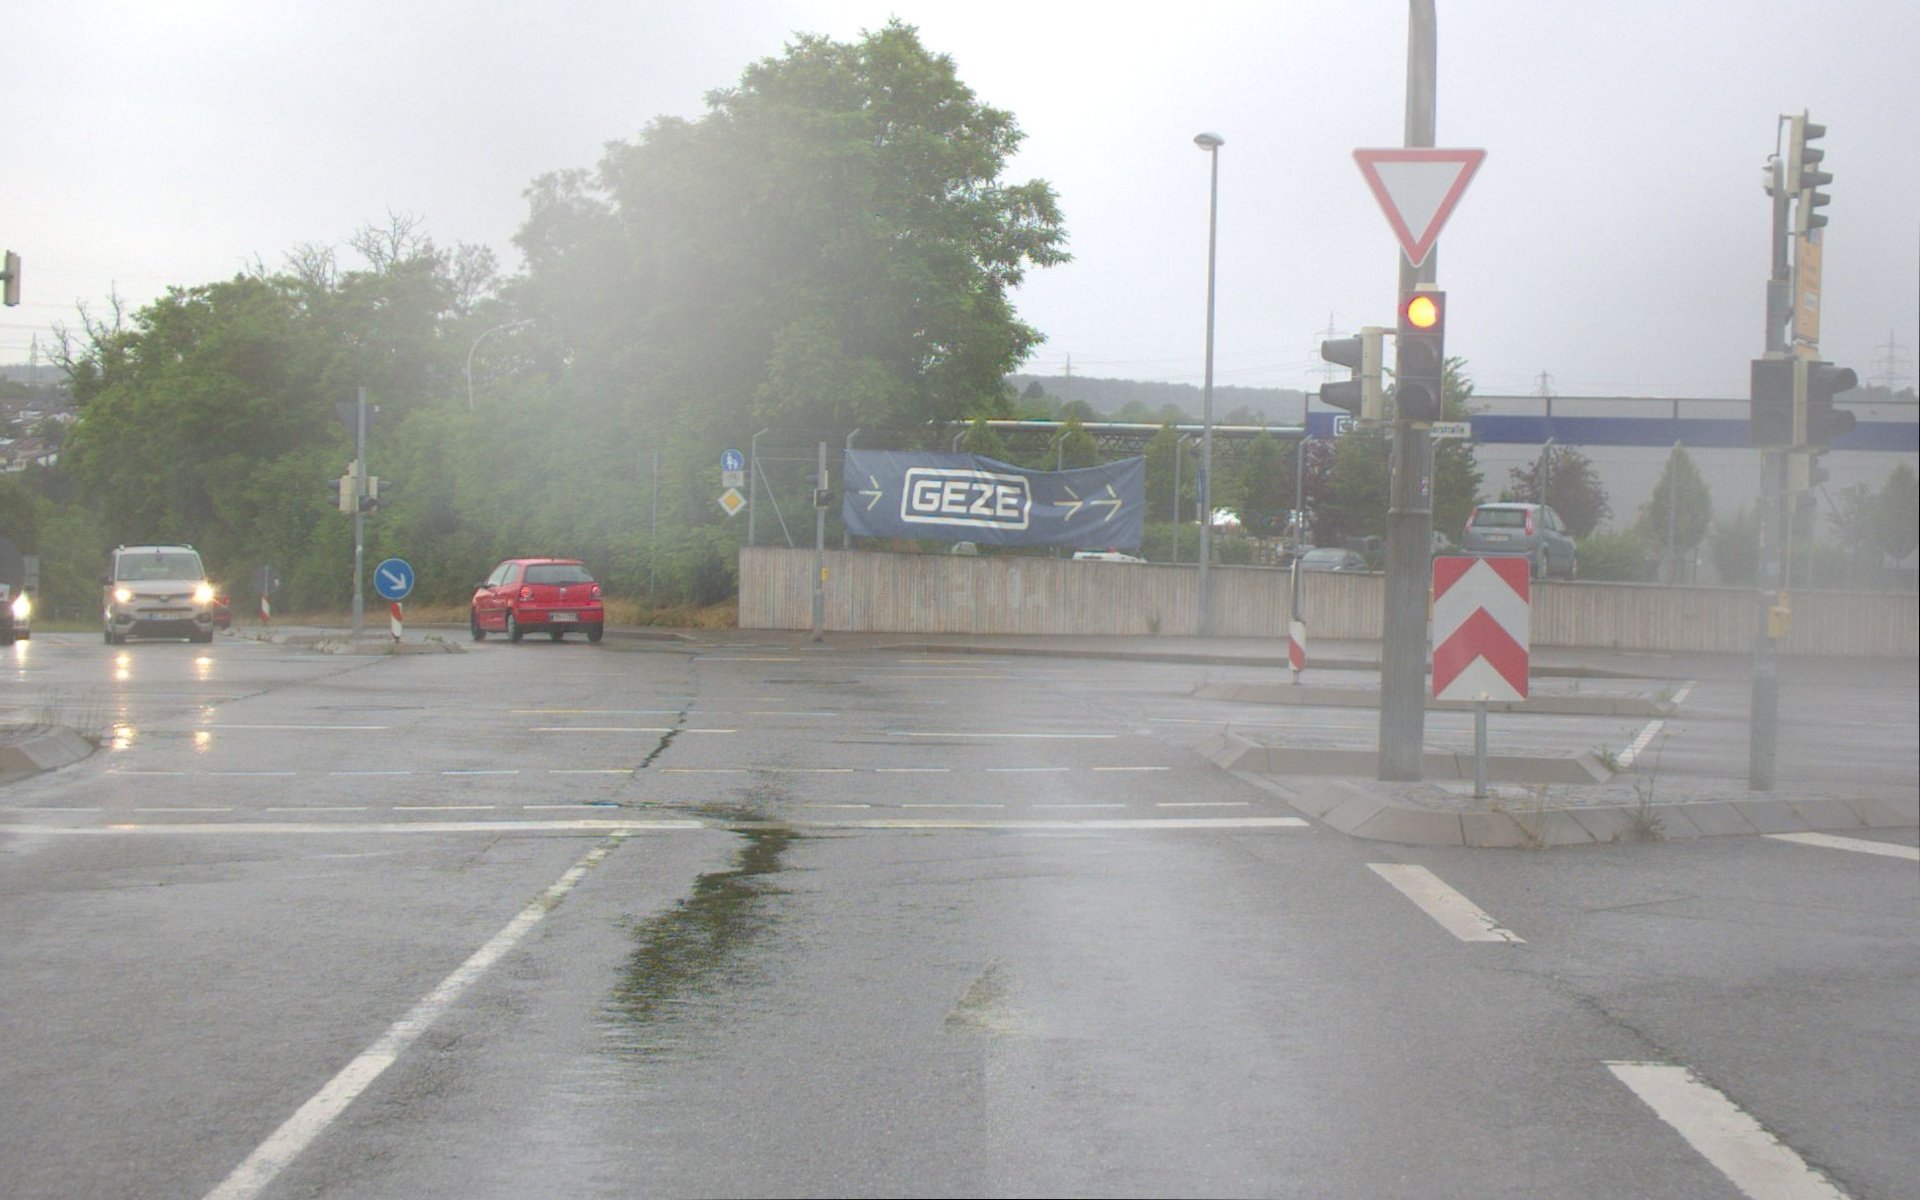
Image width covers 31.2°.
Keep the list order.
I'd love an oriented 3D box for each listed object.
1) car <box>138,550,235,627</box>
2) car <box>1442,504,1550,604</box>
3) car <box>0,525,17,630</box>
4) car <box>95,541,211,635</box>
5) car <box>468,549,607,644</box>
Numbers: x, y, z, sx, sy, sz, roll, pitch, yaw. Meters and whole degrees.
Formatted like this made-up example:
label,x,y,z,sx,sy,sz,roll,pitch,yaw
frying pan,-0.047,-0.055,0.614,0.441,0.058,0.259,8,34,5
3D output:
label,x,y,z,sx,sy,sz,roll,pitch,yaw
car,-21.349,-0.333,94.771,1.993,1.901,4.001,2,2,-21
car,11.354,-0.972,72.663,1.994,2.007,3.998,1,1,12
car,-18.608,-0.437,63.731,1.993,1.888,4.001,1,0,-17
car,-14.817,-0.244,63.029,1.993,1.612,4.001,1,1,-14
car,-7.468,-0.085,60.532,1.614,1.444,3.808,2,2,-19
